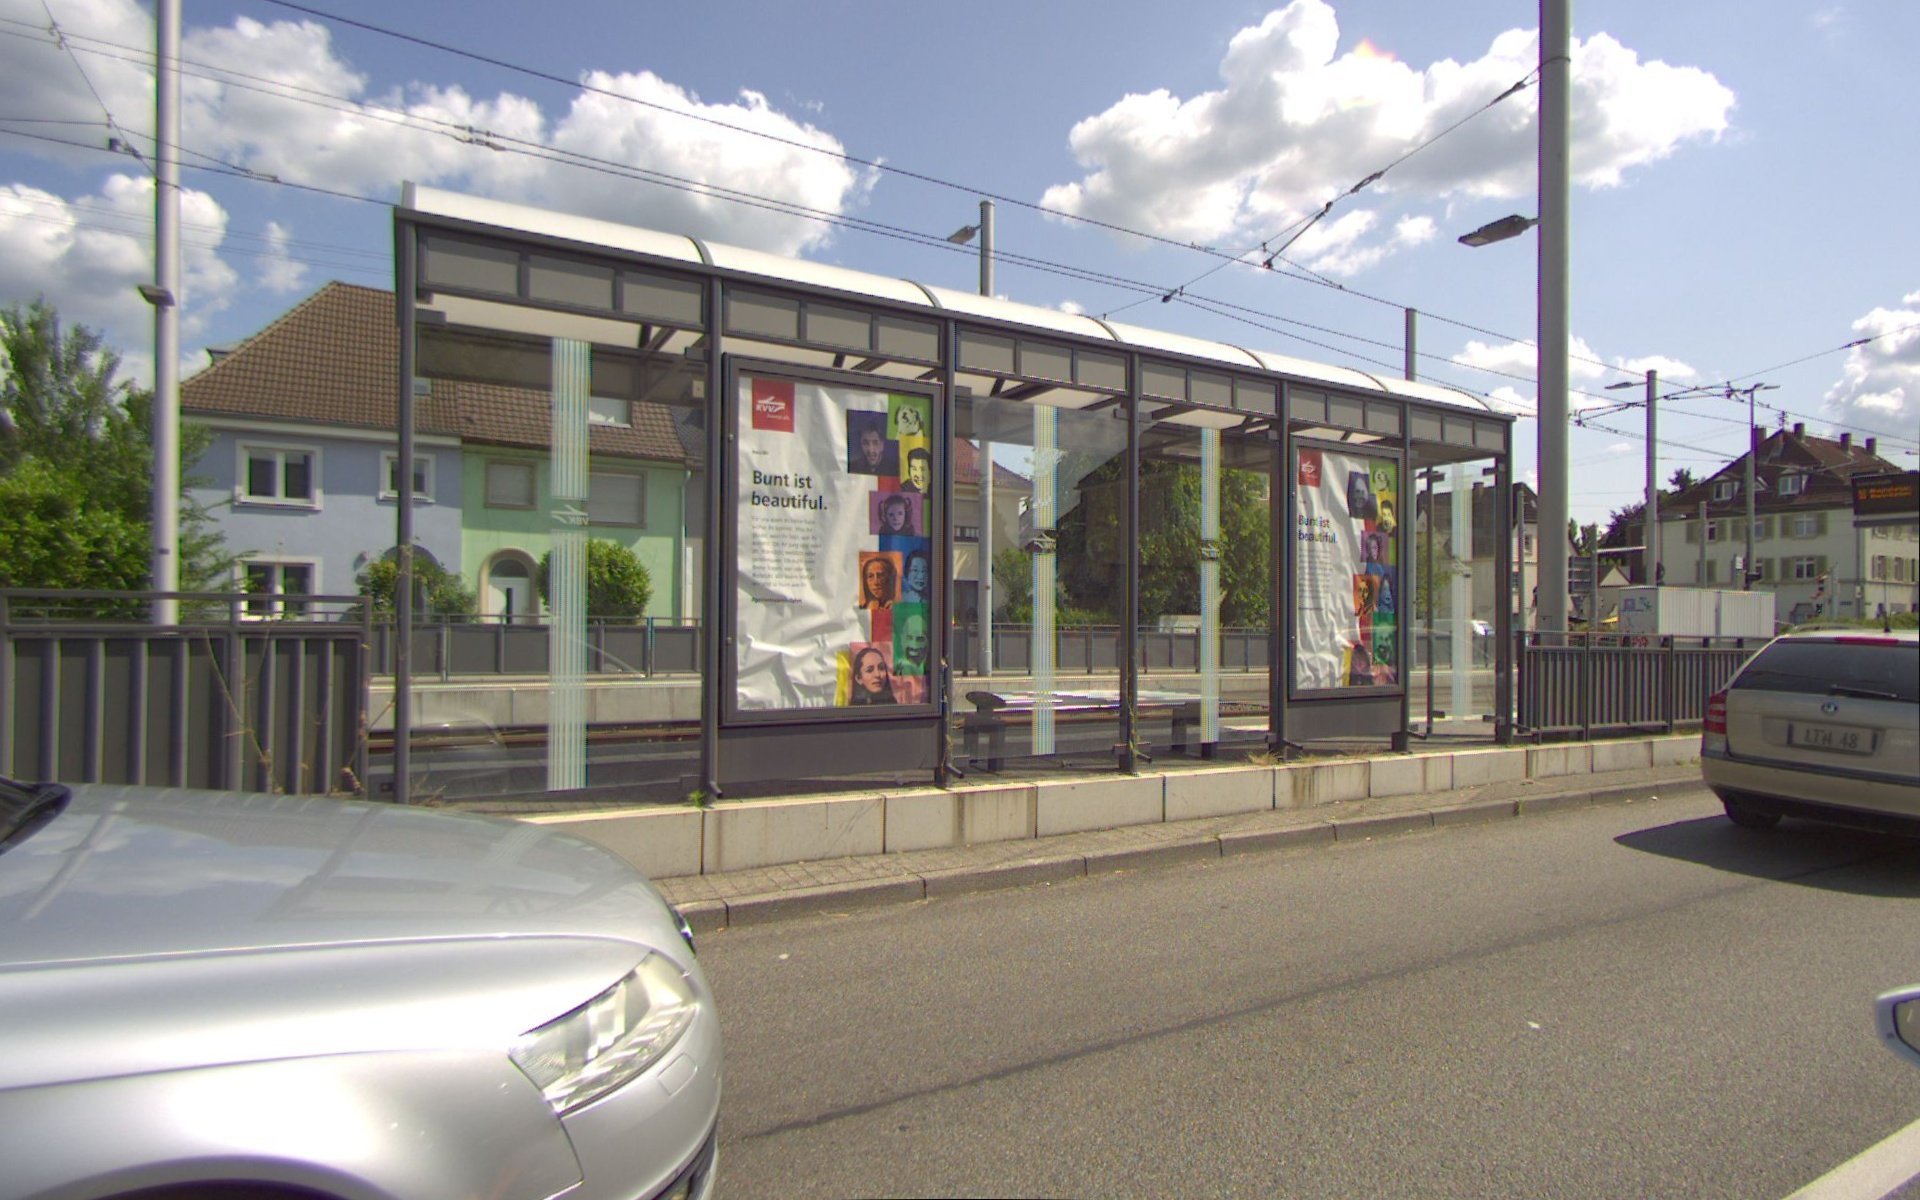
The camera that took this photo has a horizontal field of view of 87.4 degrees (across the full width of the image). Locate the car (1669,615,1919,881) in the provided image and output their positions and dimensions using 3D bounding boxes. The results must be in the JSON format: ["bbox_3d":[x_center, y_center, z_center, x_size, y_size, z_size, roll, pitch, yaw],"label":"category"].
[{"bbox_3d":[6.995,0.911,7.063,4.074,1.468,1.723,2,0,-30],"label":"car"}]

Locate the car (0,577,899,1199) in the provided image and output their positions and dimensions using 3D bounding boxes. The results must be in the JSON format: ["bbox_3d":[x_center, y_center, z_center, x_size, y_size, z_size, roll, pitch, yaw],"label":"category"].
[{"bbox_3d":[-2.570,0.676,1.304,4.668,1.491,1.785,2,0,-31],"label":"car"}]

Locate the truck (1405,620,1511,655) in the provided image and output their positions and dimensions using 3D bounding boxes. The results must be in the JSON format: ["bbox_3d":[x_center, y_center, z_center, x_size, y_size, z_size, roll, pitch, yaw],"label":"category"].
[{"bbox_3d":[30.869,2.290,62.485,1.667,1.947,6.165,2,0,-26],"label":"truck"}]
